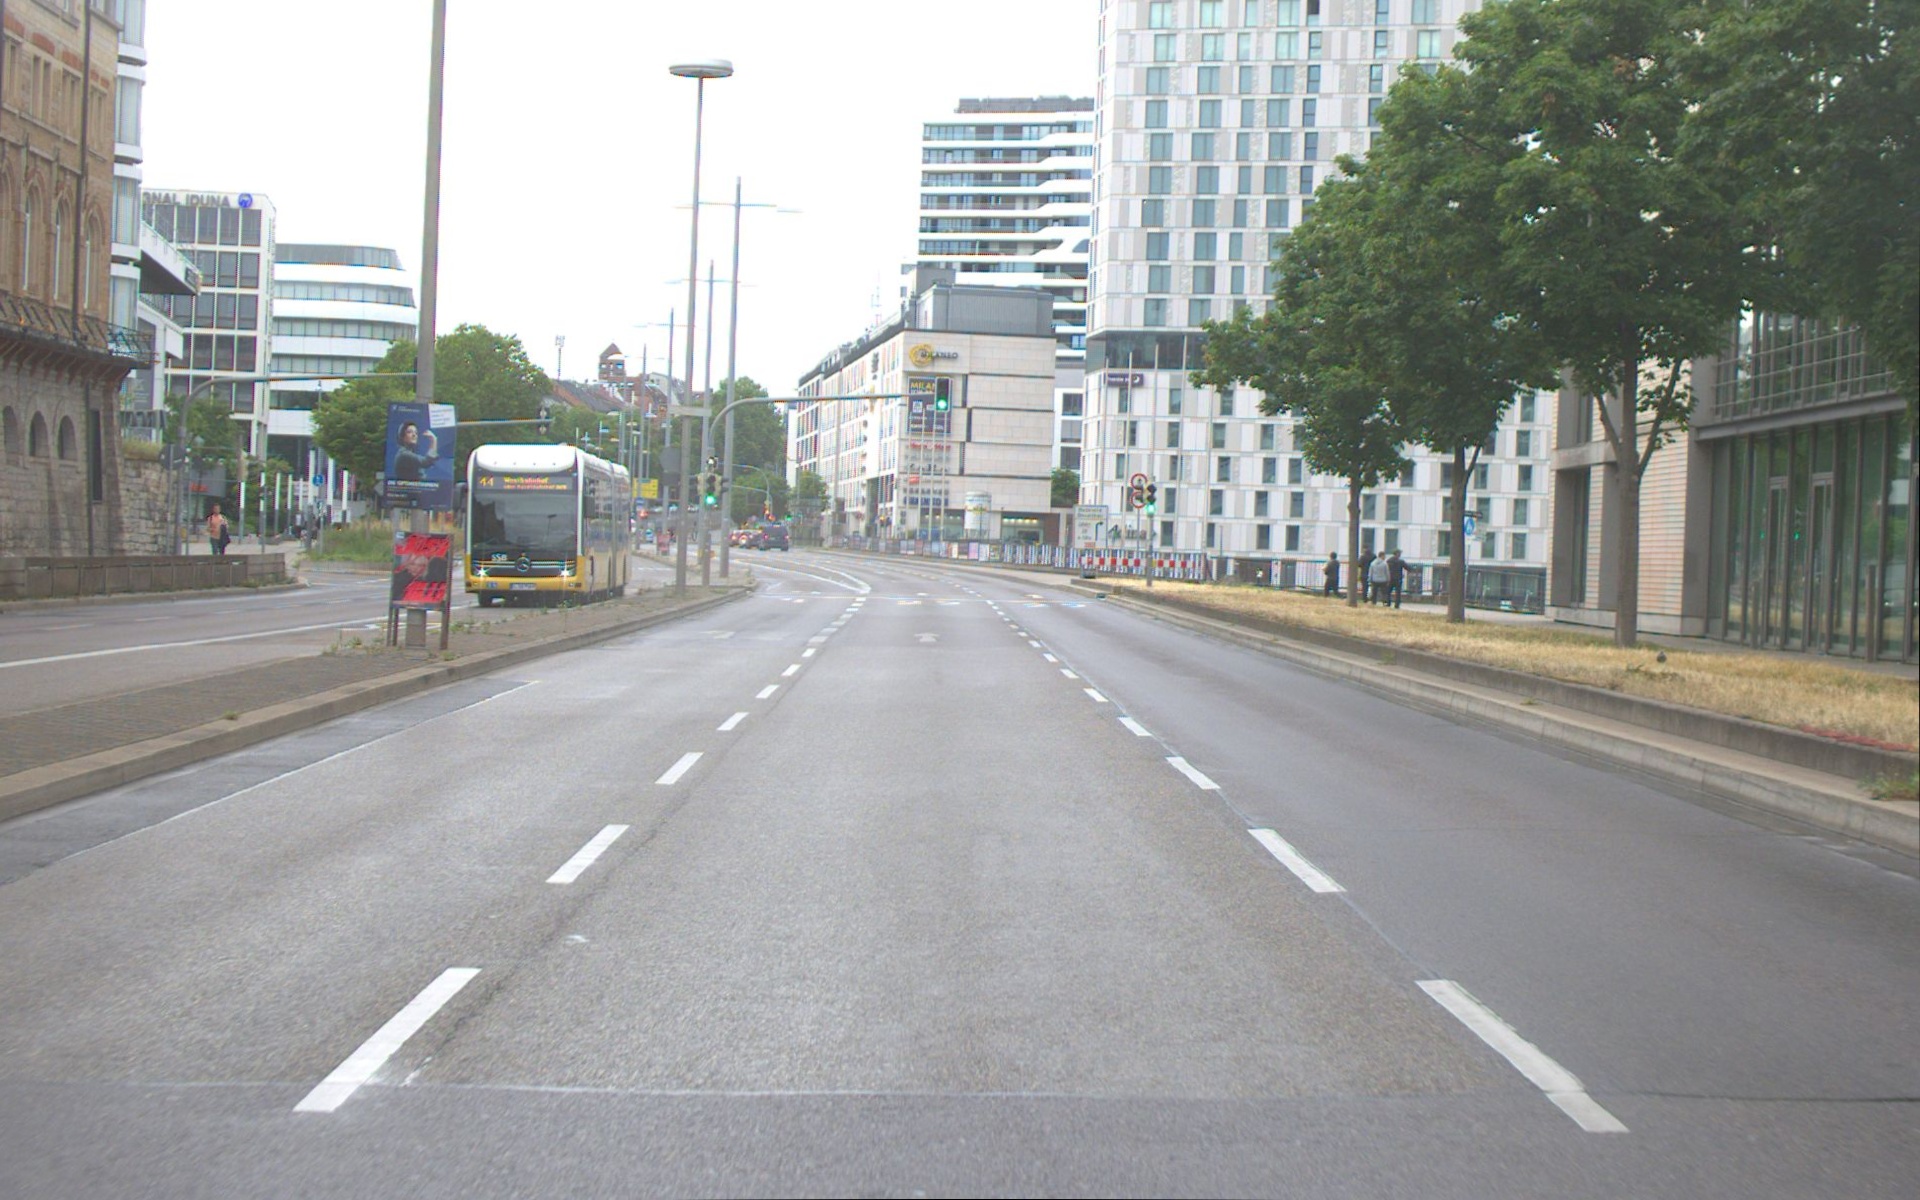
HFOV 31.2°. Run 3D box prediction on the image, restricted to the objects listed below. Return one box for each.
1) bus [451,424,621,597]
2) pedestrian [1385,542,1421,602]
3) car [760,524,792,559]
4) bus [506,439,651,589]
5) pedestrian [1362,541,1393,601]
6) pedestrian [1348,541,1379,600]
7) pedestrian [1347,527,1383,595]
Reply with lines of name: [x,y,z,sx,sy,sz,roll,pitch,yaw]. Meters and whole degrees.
bus: [-9.344,-1.980,76.736,2.698,3.547,10.095,1,1,-1]
pedestrian: [11.898,-0.766,92.307,0.670,1.572,0.667,3,3,37]
car: [-13.983,-4.463,261.296,1.994,2.335,4.000,-9,1,-1]
bus: [-9.590,-2.207,87.384,2.698,3.547,10.095,1,2,-1]
pedestrian: [11.145,-0.789,91.751,0.550,1.572,0.669,3,3,34]
pedestrian: [11.008,-0.814,93.747,0.550,1.572,0.669,3,3,34]
pedestrian: [11.044,-1.078,93.784,0.781,1.835,0.551,-1,3,-44]
